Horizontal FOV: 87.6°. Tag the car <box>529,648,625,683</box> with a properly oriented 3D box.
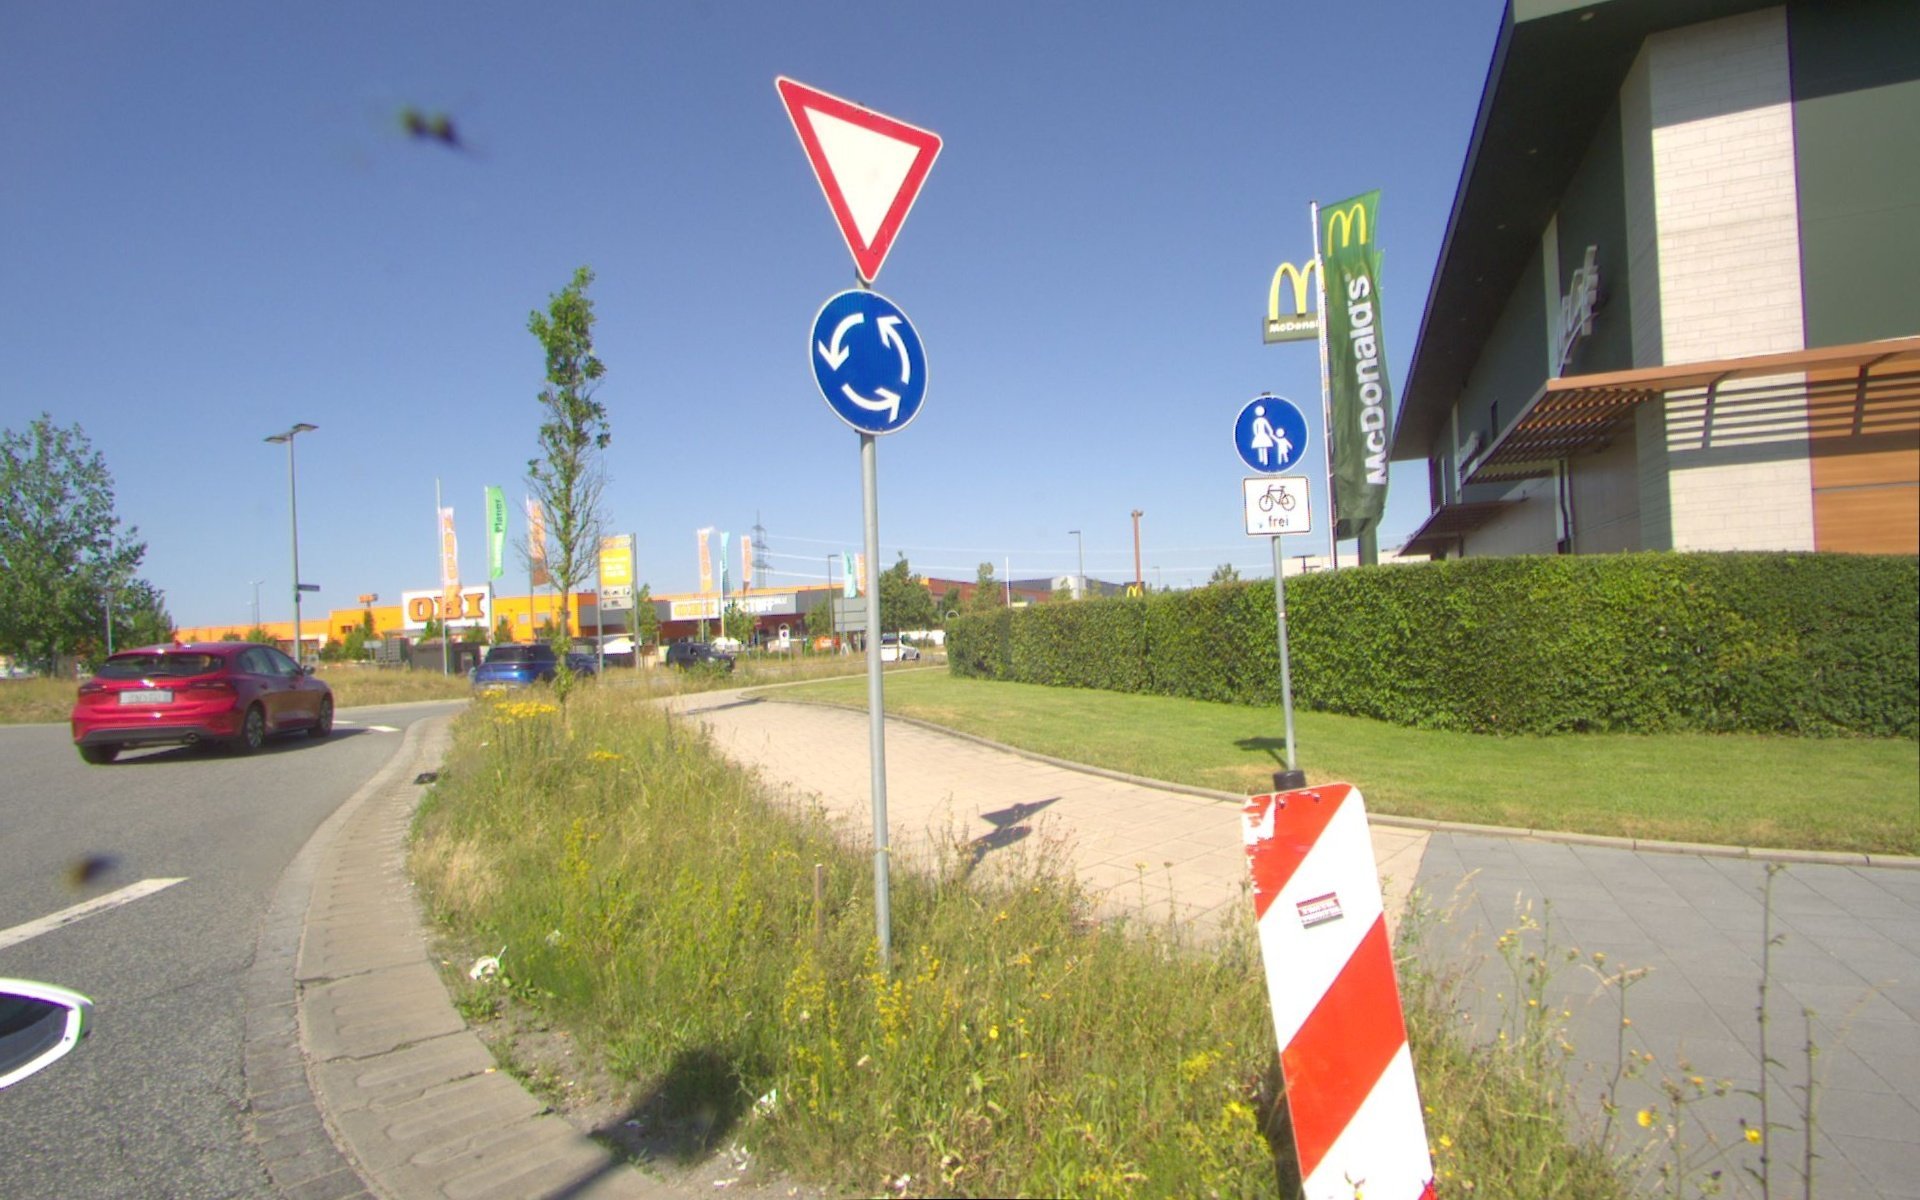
[{"bbox_3d":[-21.685,3.705,56.782,4.610,1.647,2.078,-4,-2,11],"label":"car"}]

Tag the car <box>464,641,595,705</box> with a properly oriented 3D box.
[{"bbox_3d":[-12.055,2.006,28.365,1.821,1.656,4.082,-1,-2,2],"label":"car"}]

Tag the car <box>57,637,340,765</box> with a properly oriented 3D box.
[{"bbox_3d":[-10.164,1.251,13.773,1.776,1.434,4.111,-1,-2,-17],"label":"car"}]

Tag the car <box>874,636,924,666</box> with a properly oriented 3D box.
[{"bbox_3d":[-3.263,2.755,54.180,1.488,1.459,3.345,-3,-1,19],"label":"car"}]

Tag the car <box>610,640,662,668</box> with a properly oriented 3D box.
[{"bbox_3d":[-23.197,3.866,71.837,1.670,1.863,3.772,-3,-4,17],"label":"car"}]
